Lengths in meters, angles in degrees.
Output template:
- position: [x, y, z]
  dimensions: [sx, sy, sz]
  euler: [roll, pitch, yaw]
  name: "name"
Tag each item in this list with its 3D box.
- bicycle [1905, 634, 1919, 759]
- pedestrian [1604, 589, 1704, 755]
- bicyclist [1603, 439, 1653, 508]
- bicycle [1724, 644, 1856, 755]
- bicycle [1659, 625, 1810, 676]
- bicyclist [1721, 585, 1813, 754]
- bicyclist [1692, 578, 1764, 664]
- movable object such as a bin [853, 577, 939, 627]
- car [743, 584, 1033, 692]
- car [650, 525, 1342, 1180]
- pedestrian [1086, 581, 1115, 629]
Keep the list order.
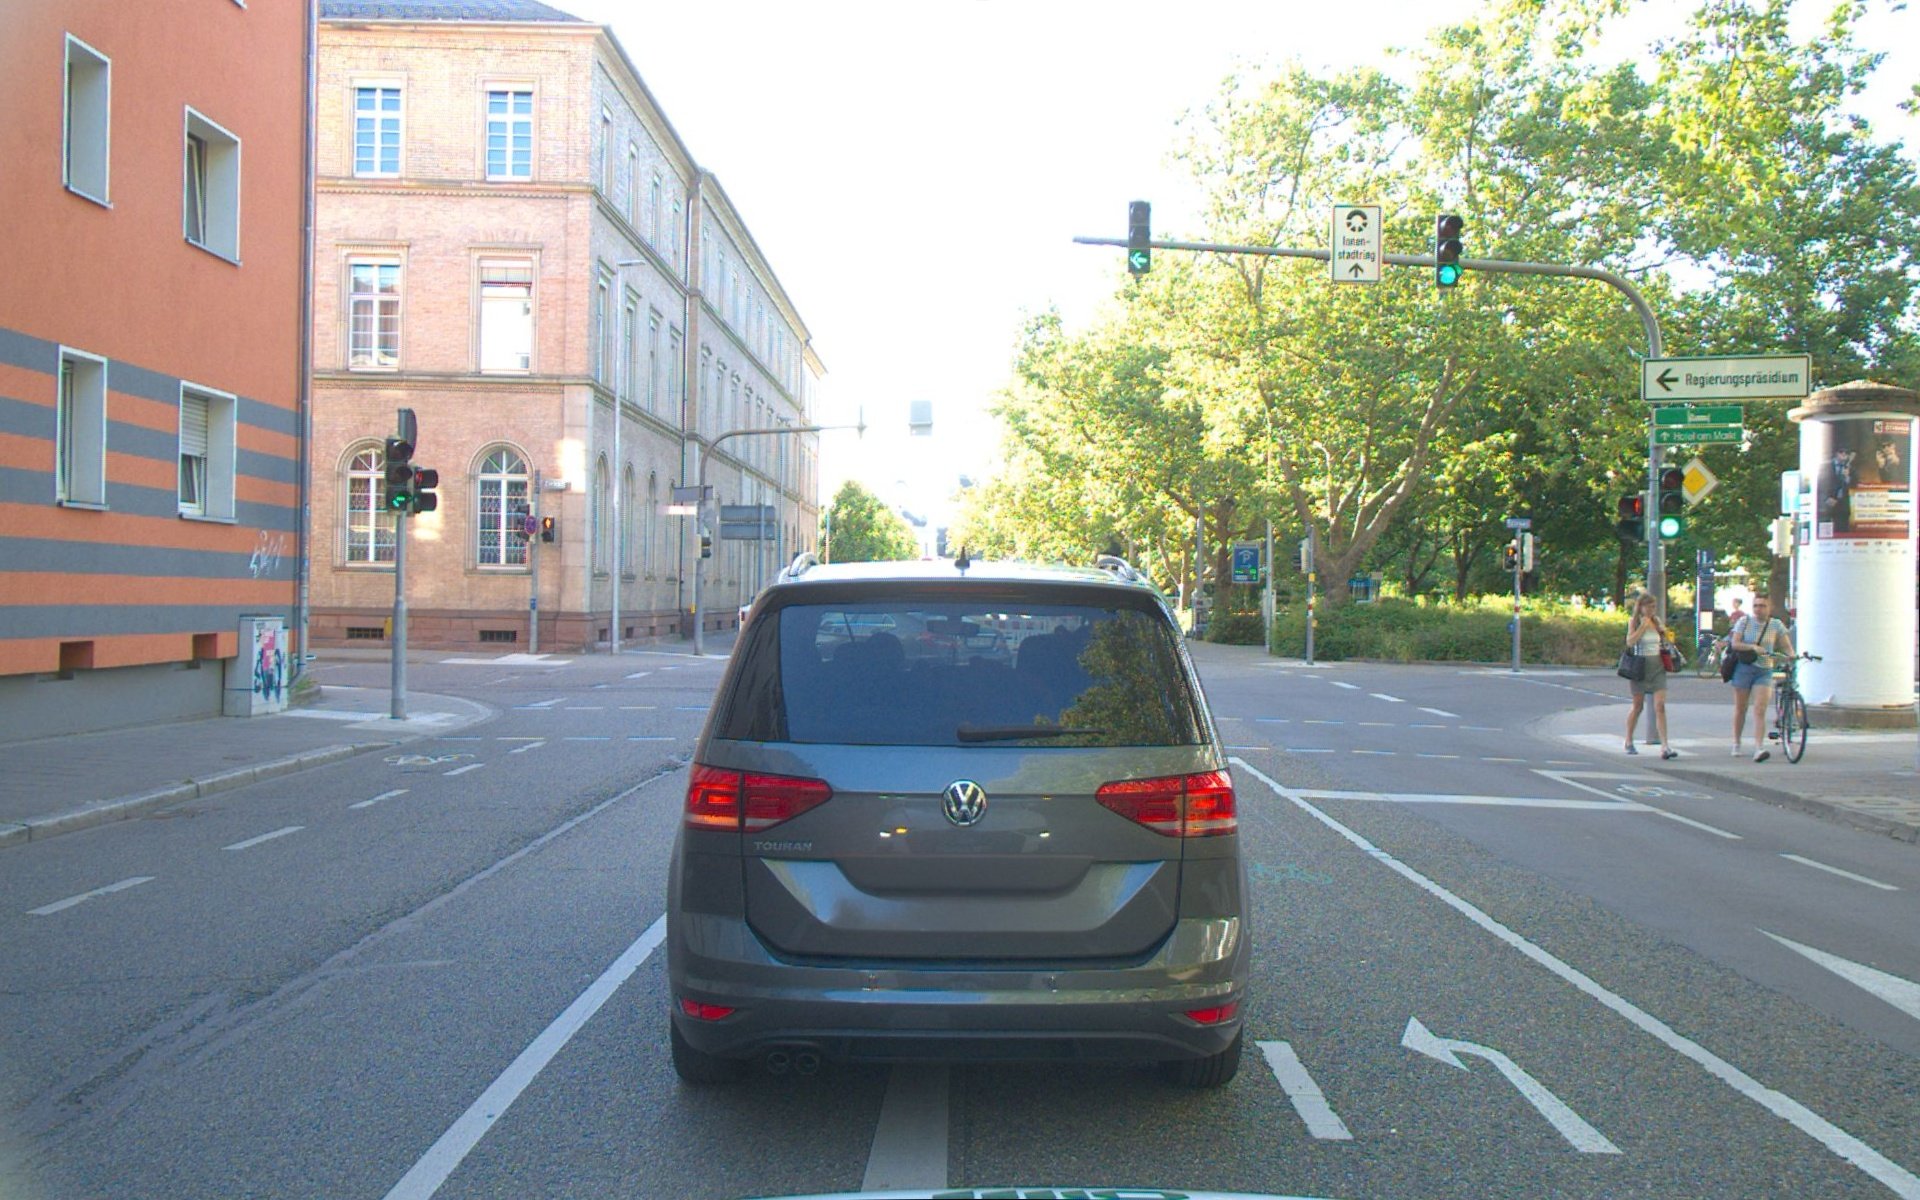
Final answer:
- position: [10.169, 0.944, 16.403]
  dimensions: [1.965, 1.203, 0.466]
  euler: [1, -1, -30]
  name: "bicycle"
- position: [7.470, 0.769, 17.835]
  dimensions: [0.758, 1.749, 0.692]
  euler: [0, -1, -1]
  name: "pedestrian"
- position: [15.830, -2.983, 39.171]
  dimensions: [0.933, 1.572, 1.124]
  euler: [1, 2, 31]
  name: "bicyclist"
- position: [8.574, 1.006, 17.154]
  dimensions: [0.510, 1.053, 1.647]
  euler: [1, 0, -1]
  name: "bicycle"
- position: [17.092, 1.109, 36.542]
  dimensions: [2.936, 1.056, 0.942]
  euler: [1, 0, -4]
  name: "bicycle"
- position: [8.489, 0.729, 17.421]
  dimensions: [0.620, 1.744, 0.654]
  euler: [0, -2, -1]
  name: "bicyclist"
- position: [16.939, 0.462, 36.521]
  dimensions: [1.105, 1.839, 0.977]
  euler: [1, -1, -2]
  name: "bicyclist"
- position: [-3.813, 0.106, 97.756]
  dimensions: [4.757, 2.825, 2.458]
  euler: [1, -1, 43]
  name: "movable object such as a bin"
- position: [-1.207, 0.551, 26.611]
  dimensions: [4.417, 1.556, 1.923]
  euler: [1, 0, 35]
  name: "car"
- position: [0.068, 0.630, 6.174]
  dimensions: [1.726, 1.635, 3.999]
  euler: [1, 0, -1]
  name: "car"
- position: [8.062, 0.295, 94.983]
  dimensions: [1.393, 2.714, 1.146]
  euler: [1, -1, -9]
  name: "pedestrian"
